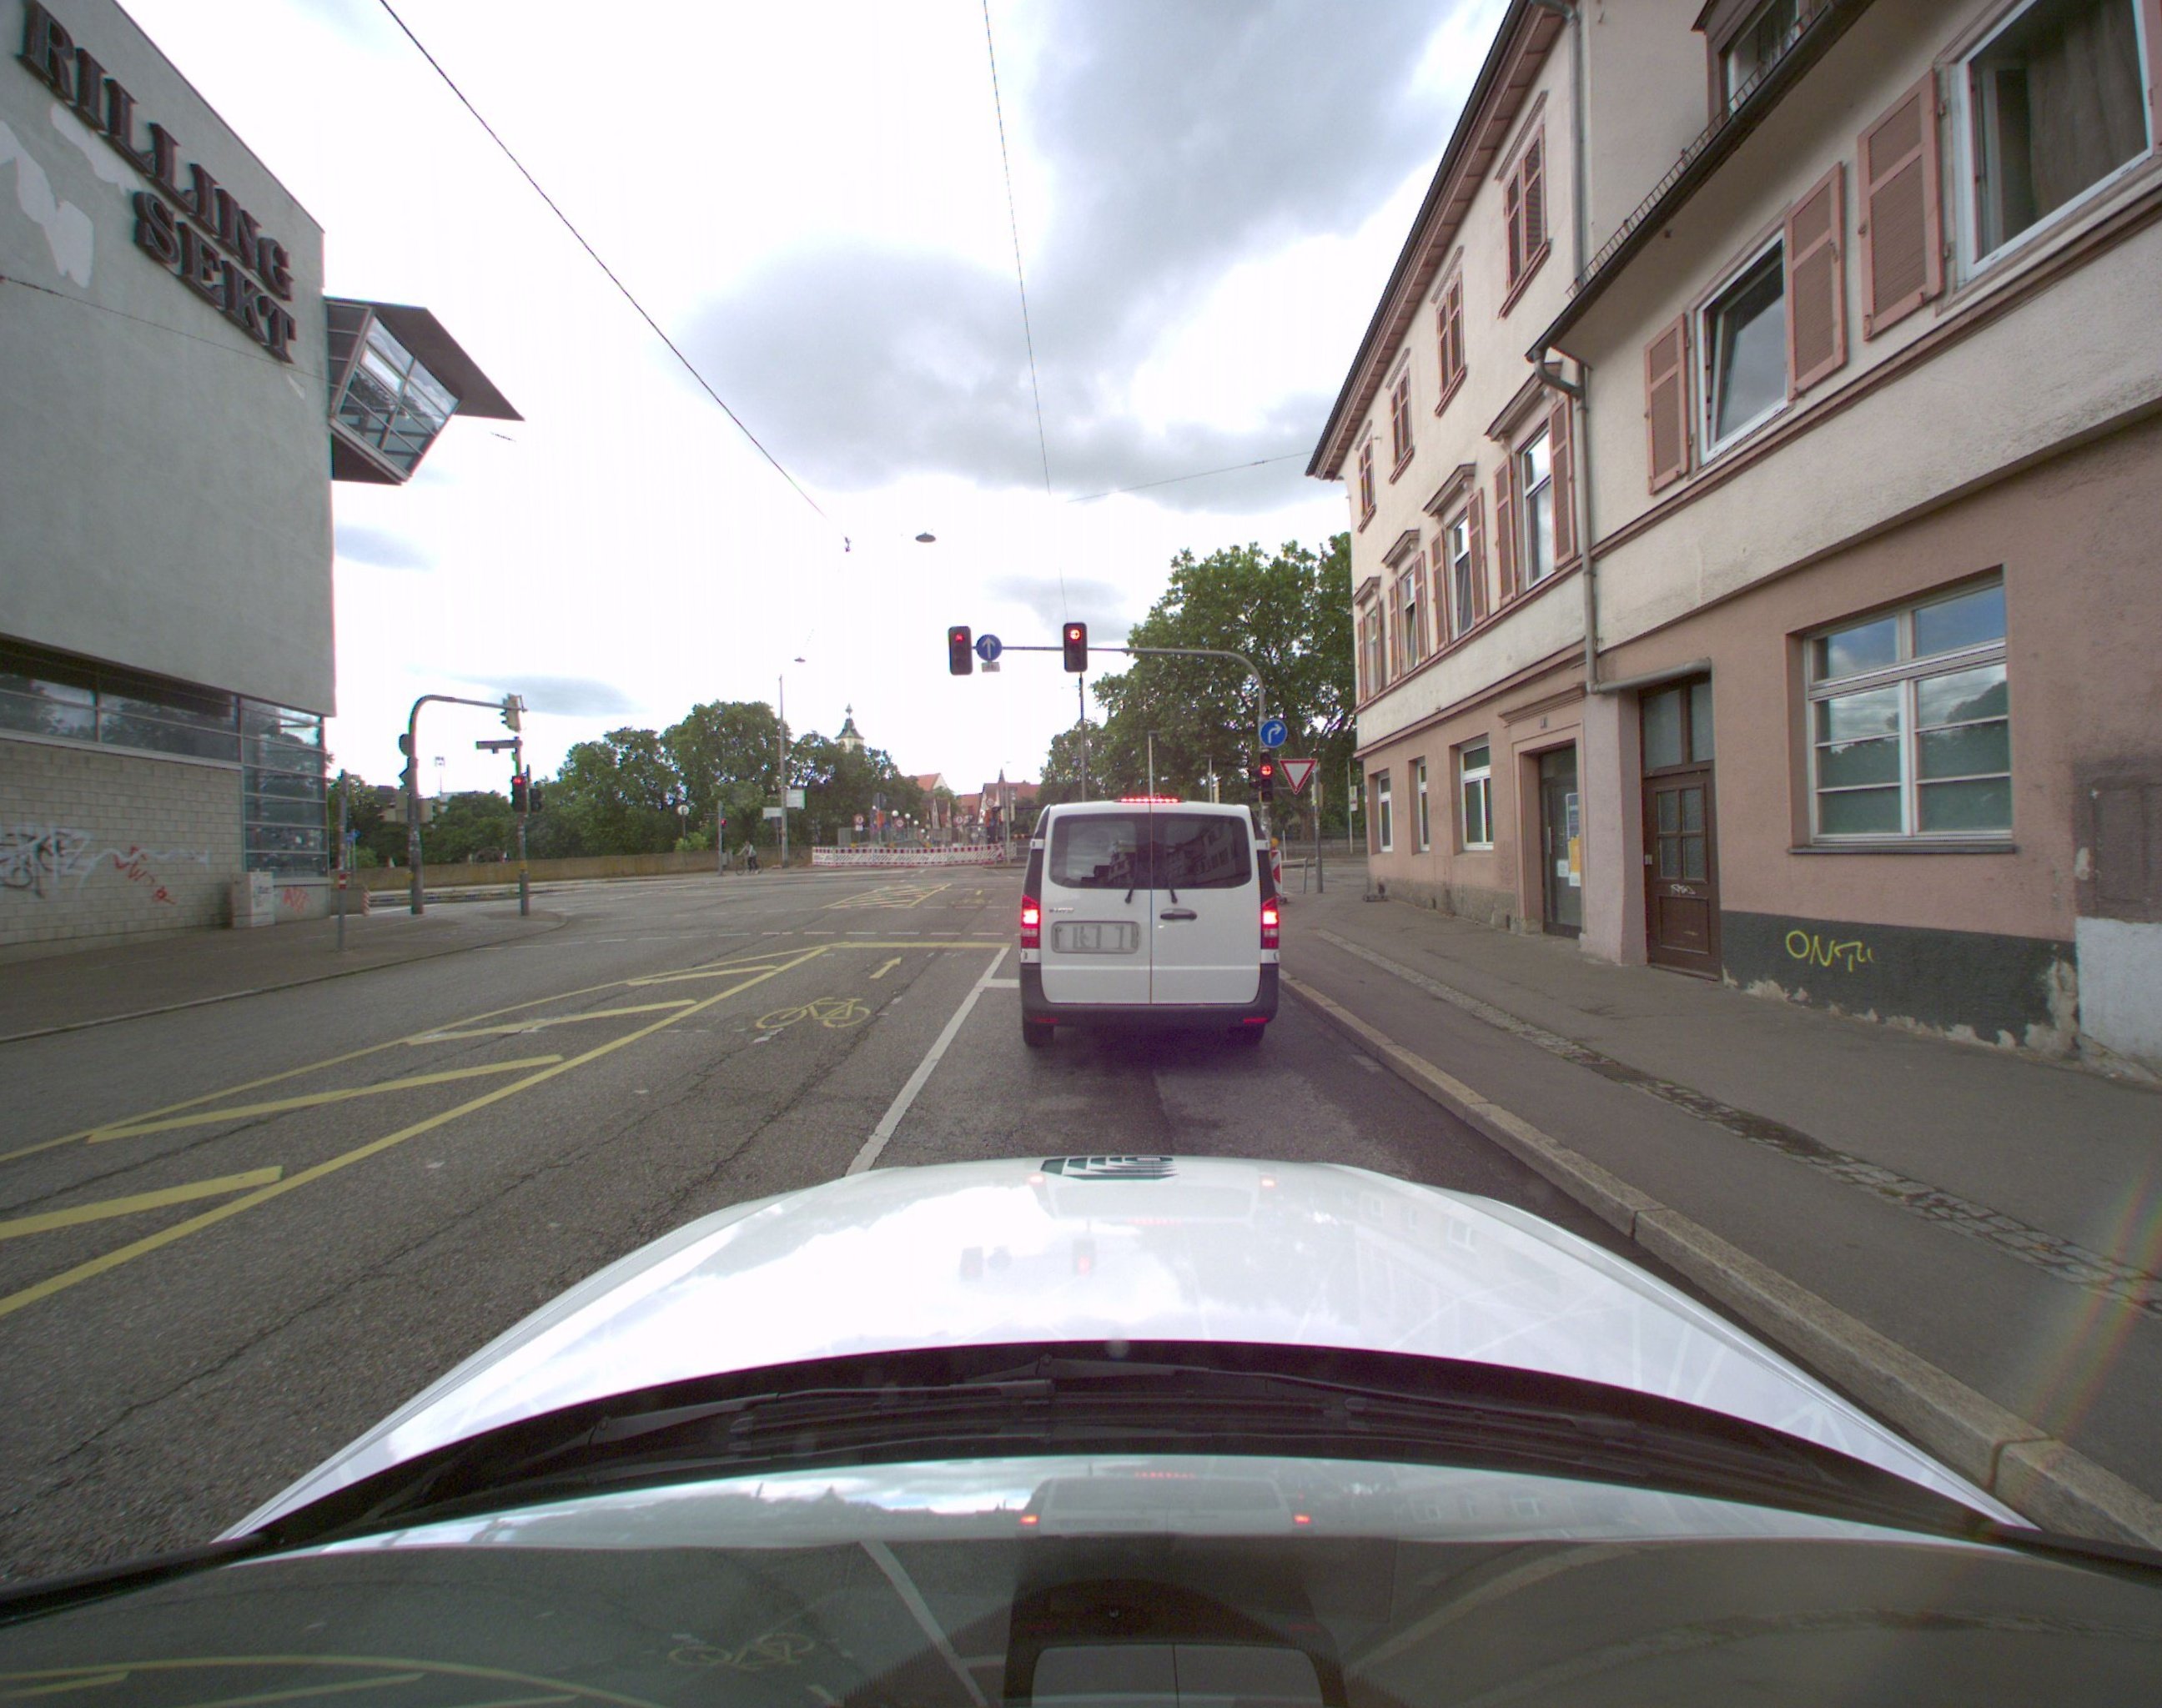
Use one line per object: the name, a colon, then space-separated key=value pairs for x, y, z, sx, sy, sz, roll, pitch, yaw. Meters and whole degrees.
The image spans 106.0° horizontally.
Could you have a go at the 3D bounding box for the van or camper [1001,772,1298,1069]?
van or camper: x=0.436 y=0.380 z=7.519 sx=1.932 sy=1.924 sz=4.440 roll=0 pitch=1 yaw=-1

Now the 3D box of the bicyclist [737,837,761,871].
bicyclist: x=-17.815 y=-0.011 z=43.722 sx=1.010 sy=1.743 sz=0.746 roll=-2 pitch=2 yaw=-40

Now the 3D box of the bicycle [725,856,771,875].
bicycle: x=-17.844 y=0.590 z=43.705 sx=2.149 sy=0.892 sz=0.751 roll=-3 pitch=2 yaw=-40
